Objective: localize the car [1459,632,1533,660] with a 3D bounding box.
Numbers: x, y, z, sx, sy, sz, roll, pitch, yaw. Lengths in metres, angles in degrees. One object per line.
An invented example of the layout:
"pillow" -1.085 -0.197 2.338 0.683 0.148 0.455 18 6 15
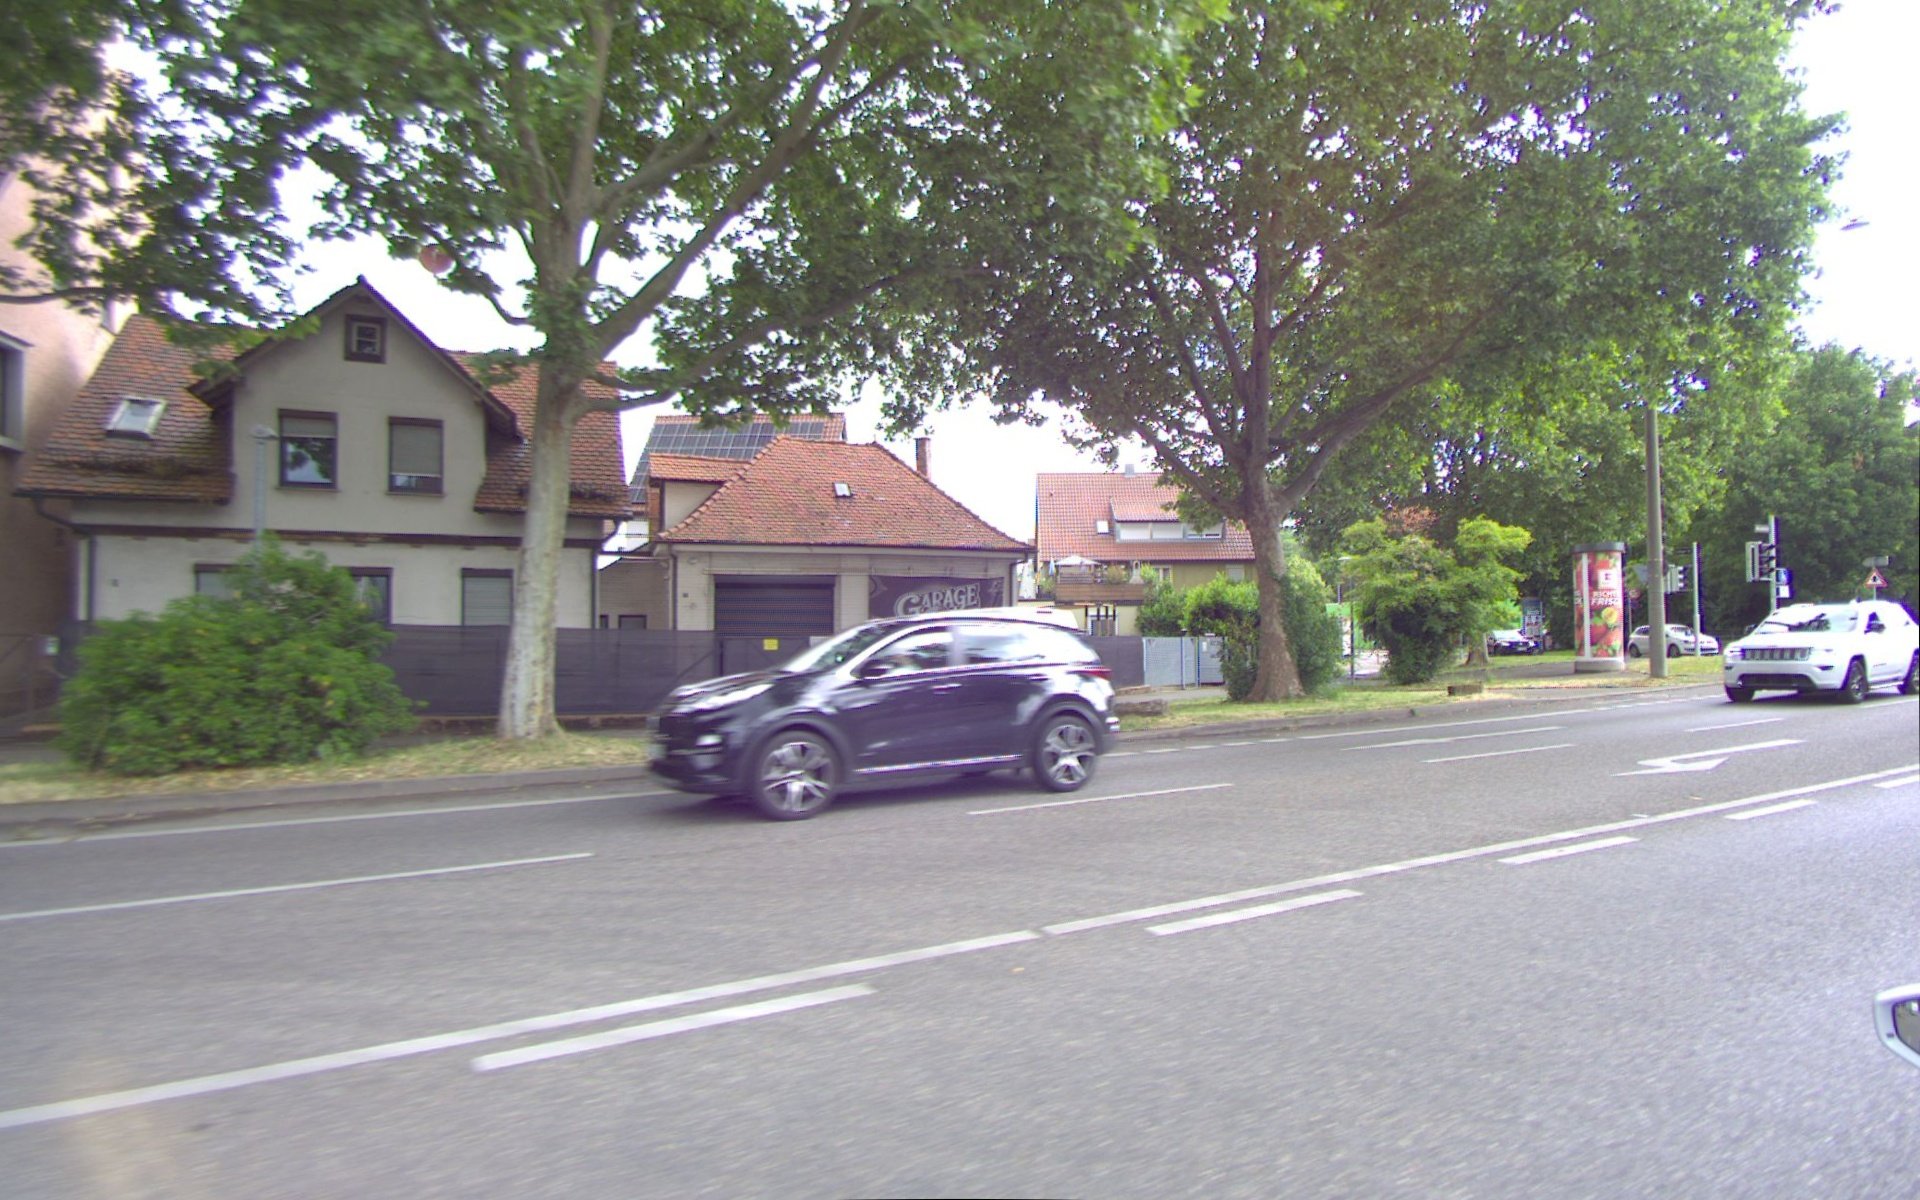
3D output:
"car" 31.489 2.711 59.191 1.961 1.566 4.270 0 -2 -2

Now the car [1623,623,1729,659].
"car" 31.246 1.777 43.976 1.790 1.499 3.855 0 -2 -1

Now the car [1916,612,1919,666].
"car" 25.163 0.938 24.518 3.903 1.400 1.562 -1 -3 -30

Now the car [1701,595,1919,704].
"car" 16.259 0.863 18.971 4.695 1.786 1.902 -1 -2 -30

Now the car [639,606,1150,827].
"car" -0.523 0.944 9.247 4.364 1.607 1.788 1 -4 -31

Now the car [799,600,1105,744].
"car" -0.328 1.167 16.303 2.069 1.956 5.181 2 -5 -42
